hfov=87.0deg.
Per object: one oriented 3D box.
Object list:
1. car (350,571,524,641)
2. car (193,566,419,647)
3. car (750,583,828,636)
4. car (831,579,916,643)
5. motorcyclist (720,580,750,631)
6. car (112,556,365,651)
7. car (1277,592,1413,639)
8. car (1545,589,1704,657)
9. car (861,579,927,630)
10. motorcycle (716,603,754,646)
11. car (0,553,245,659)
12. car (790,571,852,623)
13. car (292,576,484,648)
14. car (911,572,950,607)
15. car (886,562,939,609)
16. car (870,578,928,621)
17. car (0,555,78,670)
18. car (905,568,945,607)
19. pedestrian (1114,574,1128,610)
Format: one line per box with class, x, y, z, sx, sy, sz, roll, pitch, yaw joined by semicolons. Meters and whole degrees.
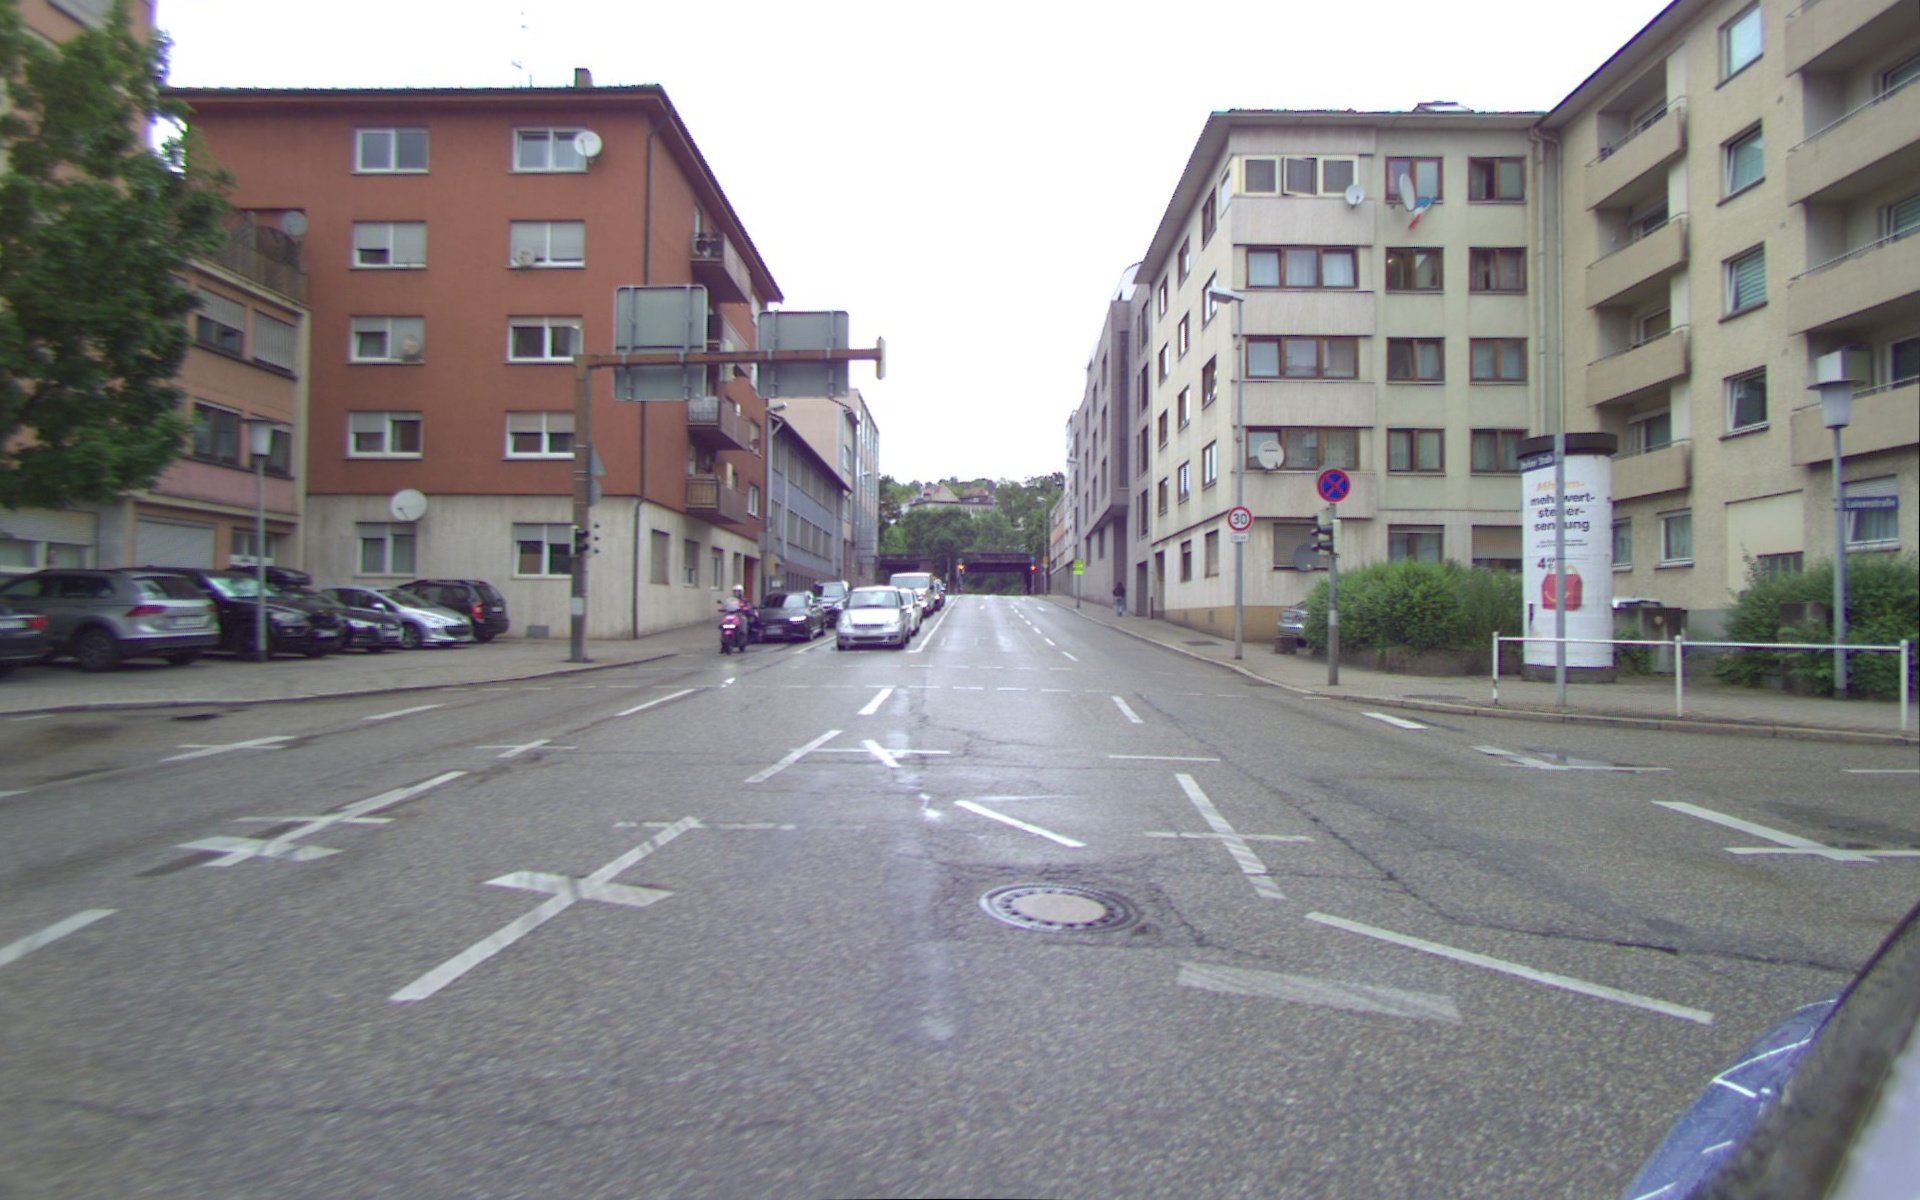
car;-14.305;0.204;27.741;3.940;1.728;1.991;-2;-2;14
car;-14.407;0.169;22.433;3.929;1.720;1.797;0;-2;5
car;-5.114;0.238;30.693;1.839;1.460;4.002;-1;1;-3
car;-2.236;0.247;27.058;1.807;1.574;3.998;-1;1;2
motorcyclist;-5.636;0.132;25.377;0.641;1.239;0.659;0;1;-5
car;-14.198;0.074;19.995;3.940;1.741;1.985;0;0;13
car;10.656;0.429;28.152;3.202;1.208;1.381;-2;-1;1
car;16.481;0.520;25.295;1.732;1.492;3.326;-1;1;-1
car;-2.110;0.111;33.238;1.815;1.574;3.999;-1;1;1
motorcycle;-5.602;0.592;25.340;0.624;0.938;2.368;-2;2;-6
car;-14.786;0.101;17.236;3.928;1.681;1.991;0;0;5
car;-5.160;-0.065;38.005;1.761;1.750;3.998;-1;-2;0
car;-14.034;0.318;24.908;3.933;1.602;1.670;-2;-2;8
car;-1.715;-0.555;59.561;1.881;1.883;4.850;-2;-1;3
car;-2.127;-0.598;46.252;1.908;1.940;4.850;-2;-1;3
car;-2.286;-0.037;38.900;1.816;1.574;3.998;-1;1;2
car;-15.481;0.182;14.260;4.709;1.574;1.848;0;0;4
car;-1.788;-0.638;53.379;1.695;1.883;4.345;-2;-1;3
pedestrian;7.760;-0.388;48.694;0.526;1.723;0.504;-1;-2;-3
